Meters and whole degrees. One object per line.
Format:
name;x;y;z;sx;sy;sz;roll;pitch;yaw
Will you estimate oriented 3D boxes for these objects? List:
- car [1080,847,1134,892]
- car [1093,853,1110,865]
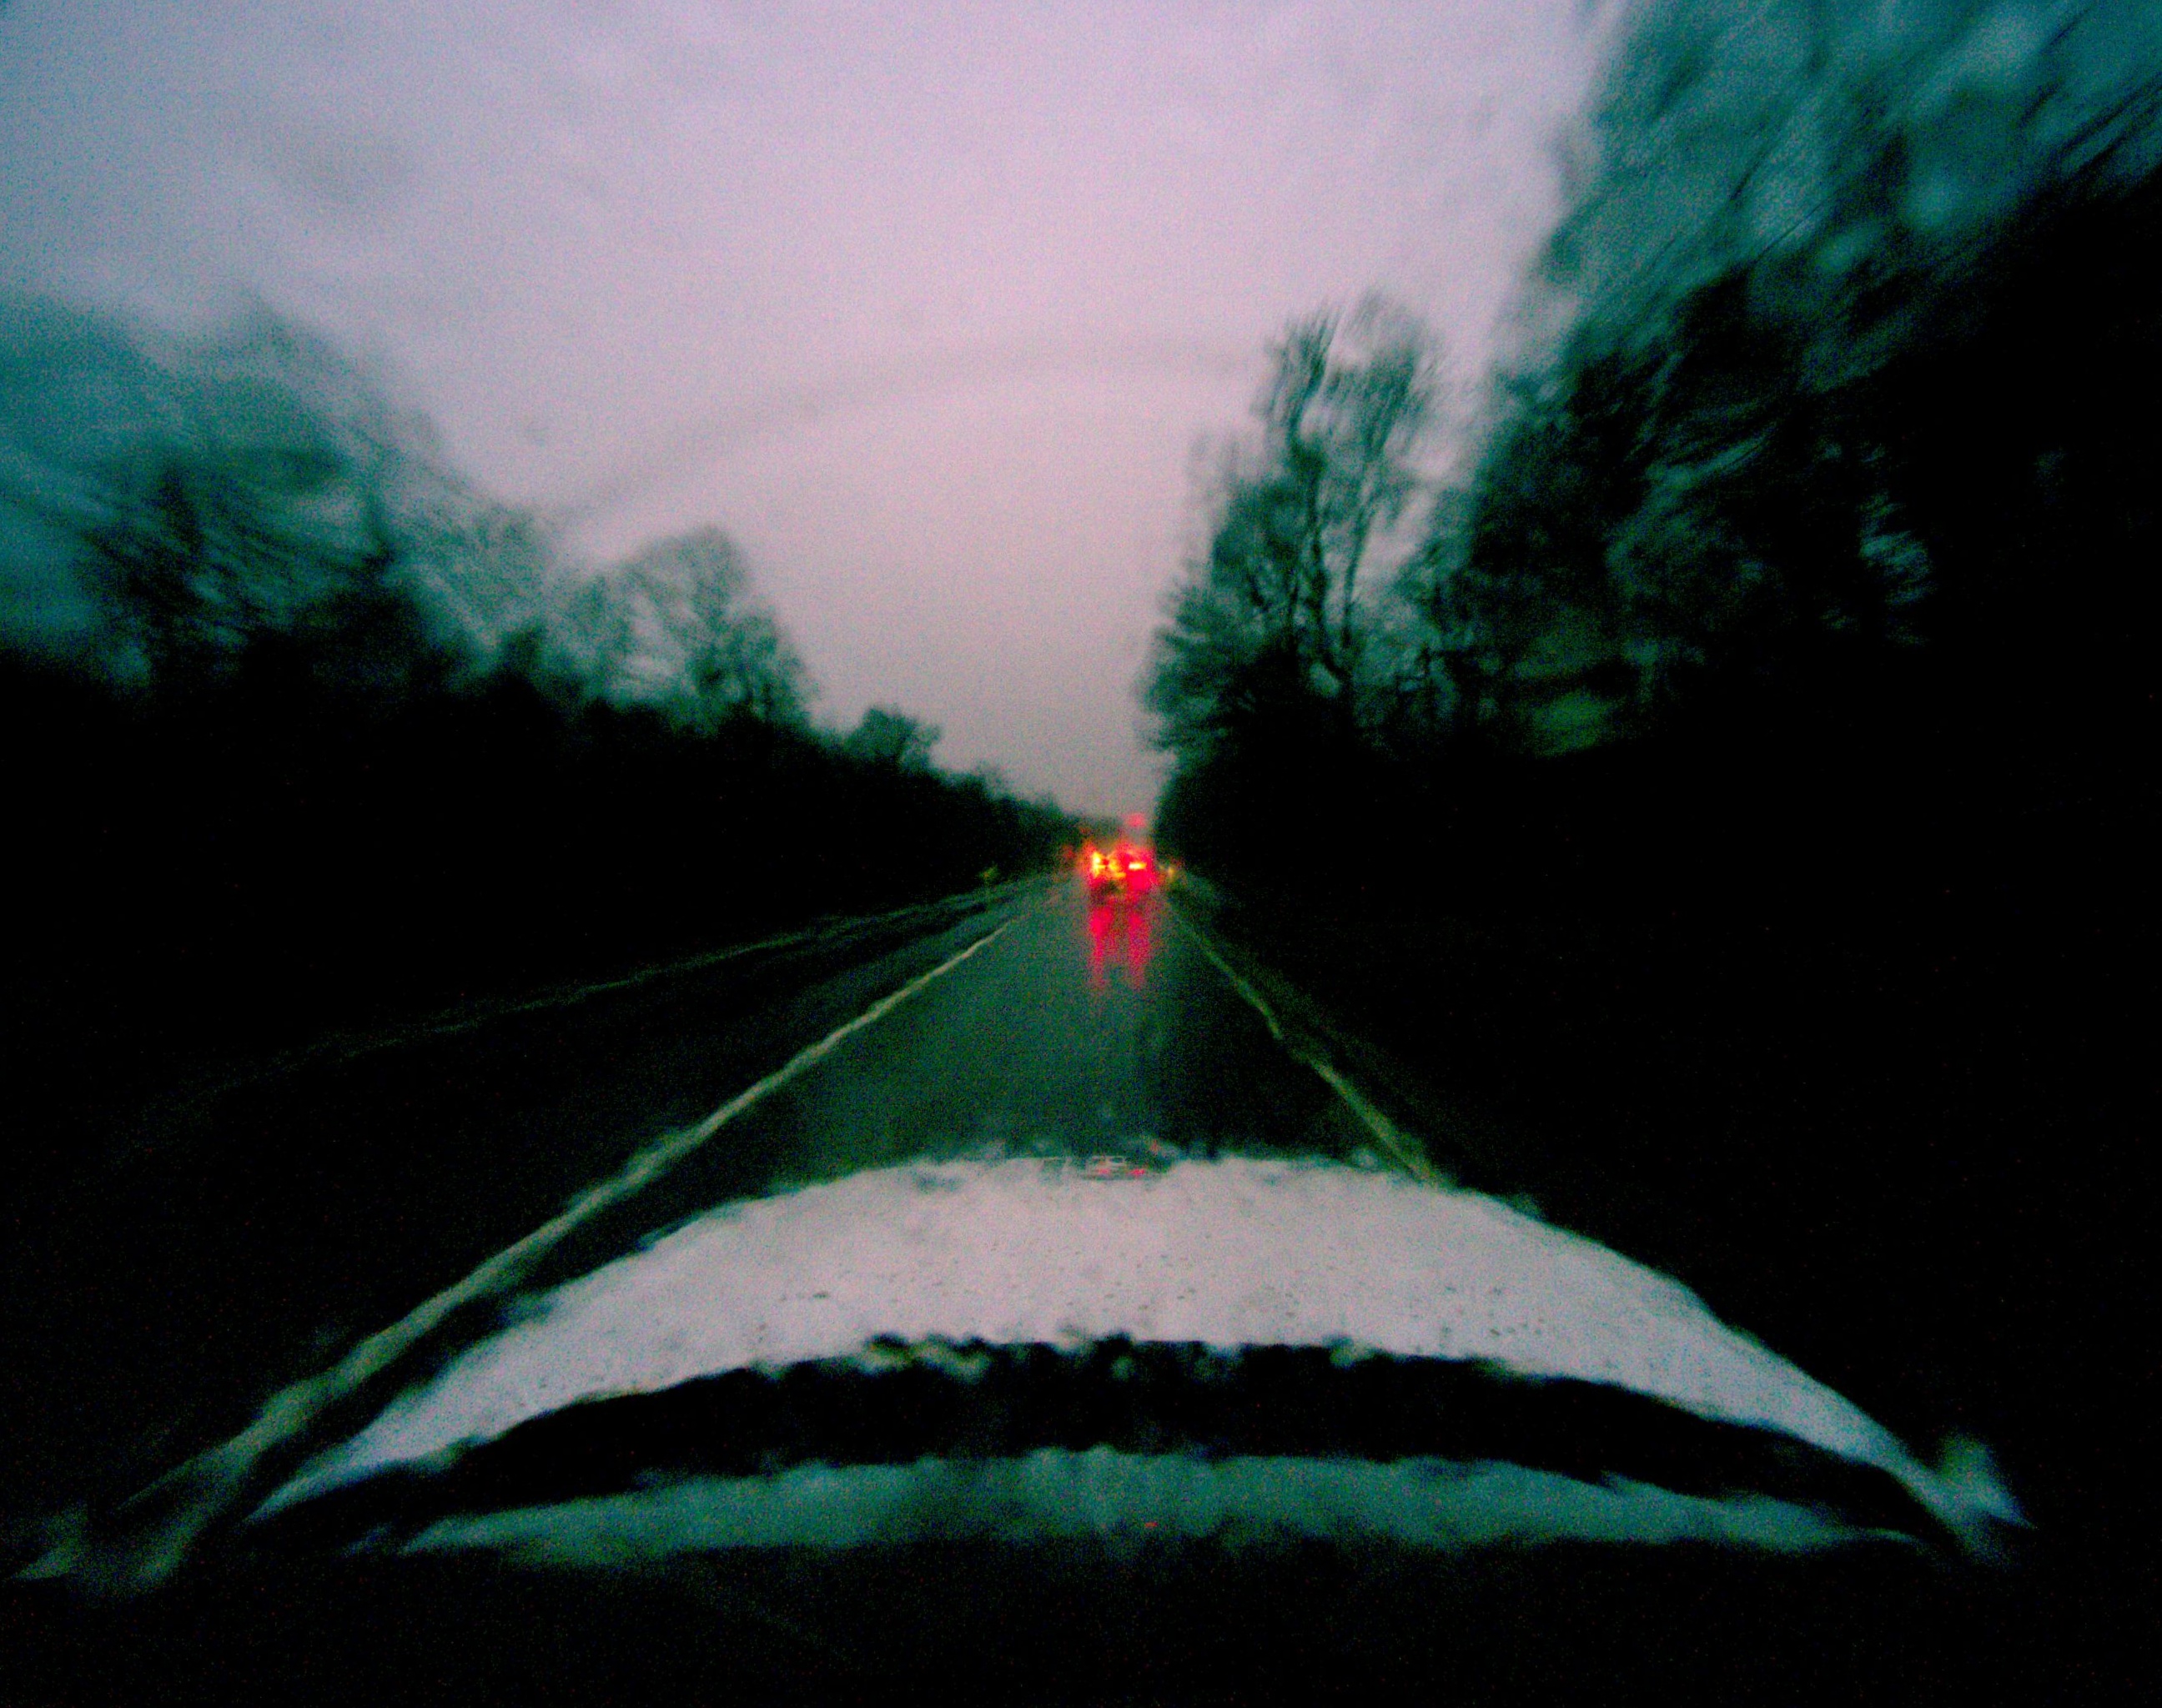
car;0.958;0.489;27.841;1.671;1.389;4.102;-2;0;4
car;2.542;0.615;100.951;1.806;1.438;4.103;-2;0;5
